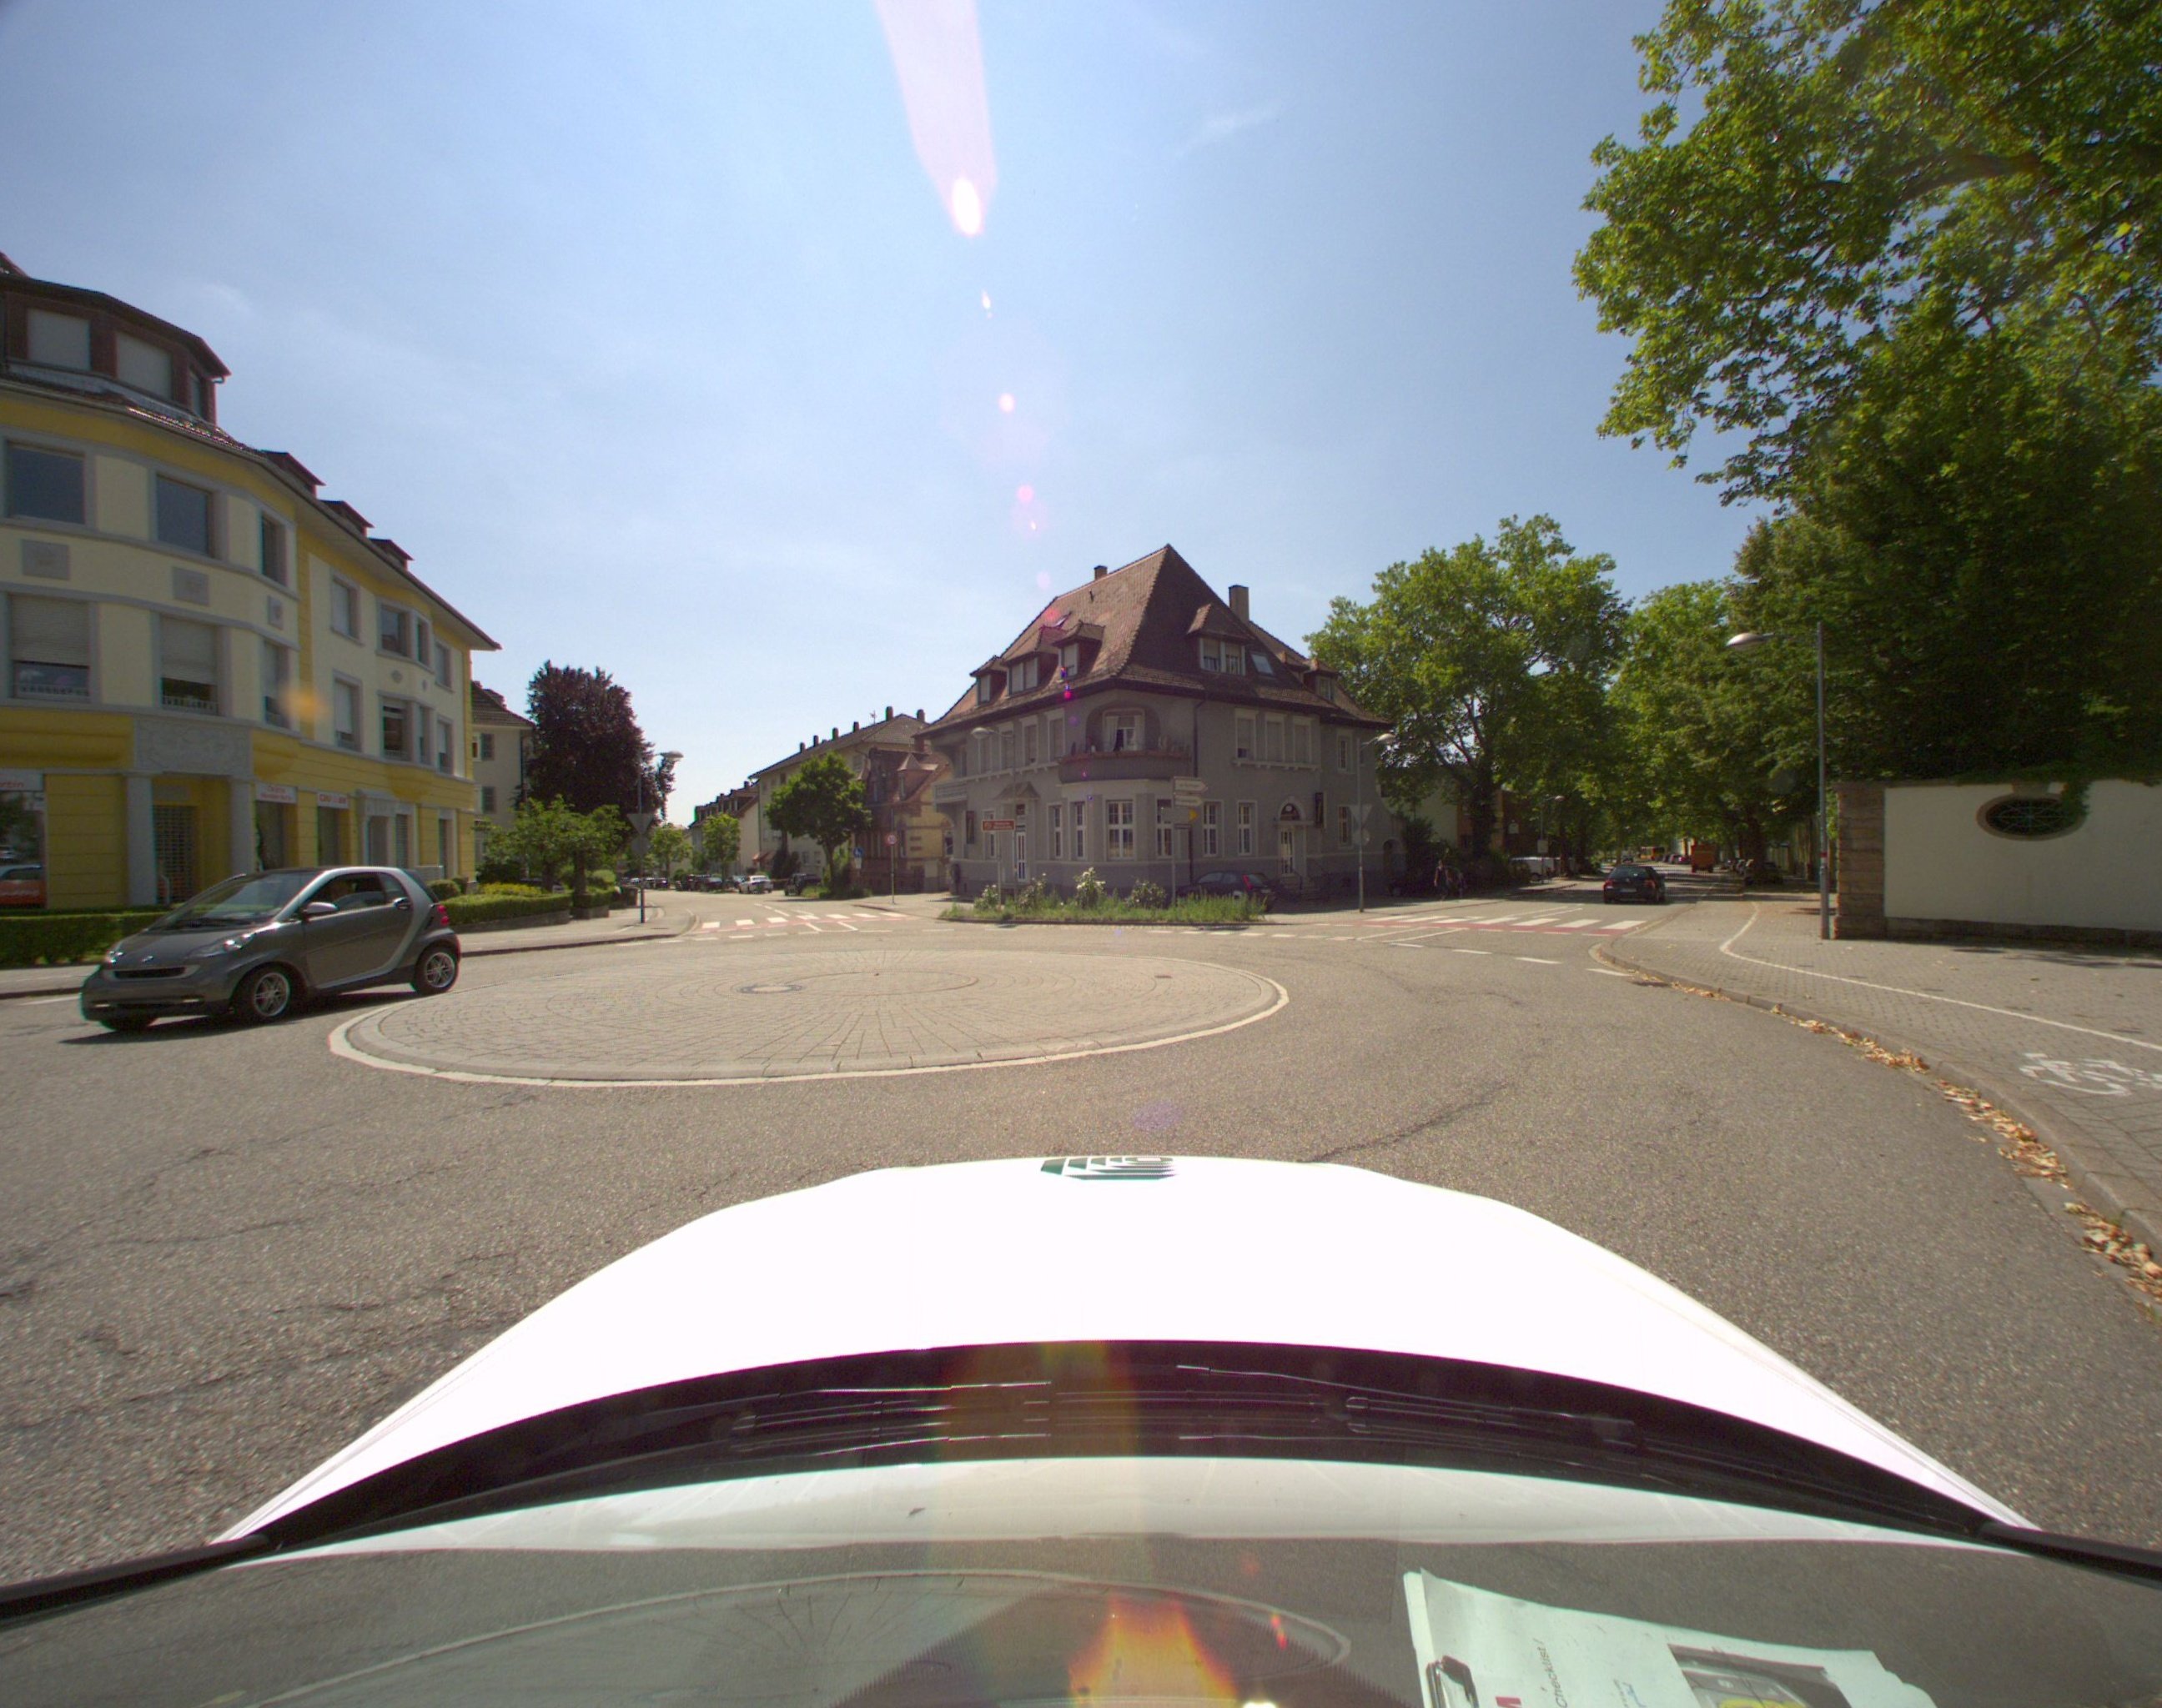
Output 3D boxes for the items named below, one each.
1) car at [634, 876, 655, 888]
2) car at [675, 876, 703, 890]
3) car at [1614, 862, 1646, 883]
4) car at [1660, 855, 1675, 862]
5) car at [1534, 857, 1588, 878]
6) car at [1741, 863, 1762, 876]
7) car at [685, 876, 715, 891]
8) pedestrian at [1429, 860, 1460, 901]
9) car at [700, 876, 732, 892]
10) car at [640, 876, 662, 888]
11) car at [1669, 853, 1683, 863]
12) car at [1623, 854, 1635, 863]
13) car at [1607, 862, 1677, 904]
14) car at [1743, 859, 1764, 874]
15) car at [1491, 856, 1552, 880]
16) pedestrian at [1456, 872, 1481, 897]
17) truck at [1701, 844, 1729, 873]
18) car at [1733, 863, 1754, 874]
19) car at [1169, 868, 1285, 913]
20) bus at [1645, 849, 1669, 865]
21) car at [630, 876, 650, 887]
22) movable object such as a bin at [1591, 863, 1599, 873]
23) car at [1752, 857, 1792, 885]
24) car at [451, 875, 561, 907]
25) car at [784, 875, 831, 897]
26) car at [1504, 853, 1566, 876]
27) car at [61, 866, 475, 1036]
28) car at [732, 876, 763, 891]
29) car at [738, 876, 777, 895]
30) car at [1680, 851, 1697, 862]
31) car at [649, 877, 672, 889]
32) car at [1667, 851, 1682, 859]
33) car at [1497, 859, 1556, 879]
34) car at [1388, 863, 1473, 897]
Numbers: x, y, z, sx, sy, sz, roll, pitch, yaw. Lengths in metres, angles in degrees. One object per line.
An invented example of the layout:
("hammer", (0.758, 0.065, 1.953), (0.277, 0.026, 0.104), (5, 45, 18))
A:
("car", (-61.497, 3.937, 114.786), (2.009, 1.509, 4.369), (0, -2, -37))
("car", (-42.900, 3.184, 89.009), (2.009, 1.509, 4.369), (0, -2, -37))
("car", (39.961, 1.345, 59.210), (1.751, 1.426, 4.420), (-2, -2, 36))
("car", (117.528, 0.844, 163.265), (1.750, 1.374, 3.752), (-2, -2, 27))
("car", (43.970, 1.215, 74.663), (4.089, 1.804, 1.915), (1, 0, 37))
("car", (80.860, 1.889, 98.246), (1.749, 1.466, 3.900), (-3, -2, 38))
("car", (-39.750, 3.068, 84.934), (2.009, 1.509, 4.369), (0, -2, -37))
("pedestrian", (15.593, 1.136, 34.932), (1.119, 1.742, 0.864), (1, -2, -44))
("car", (-35.970, 2.929, 80.129), (2.009, 1.509, 4.369), (0, -2, -37))
("car", (-58.328, 3.810, 110.445), (2.009, 1.509, 4.369), (0, -2, -37))
("car", (106.881, 0.660, 146.382), (1.861, 1.686, 4.025), (-1, -2, 34))
("car", (112.206, 0.969, 166.799), (1.974, 1.666, 4.025), (-1, -2, 34))
("car", (21.531, 1.070, 31.215), (1.695, 1.447, 4.082), (-1, -1, 42))
("car", (72.955, 1.350, 88.423), (1.562, 1.466, 3.900), (-3, -2, 38))
("car", (33.993, 1.058, 62.892), (3.948, 1.792, 1.880), (1, 0, 37))
("pedestrian", (17.797, 1.388, 37.382), (0.902, 1.122, 0.747), (1, -2, -42))
("truck", (71.367, 0.549, 91.600), (2.347, 3.134, 5.805), (-1, -2, 38))
("car", (85.311, 1.852, 104.964), (1.749, 1.374, 3.753), (-3, -2, 34))
("car", (5.033, 1.243, 28.461), (1.733, 1.460, 3.748), (0, -2, -40))
("bus", (125.151, 0.716, 177.112), (2.639, 3.151, 11.263), (-1, -1, 27))
("car", (-64.597, 4.026, 119.228), (2.008, 1.488, 3.956), (2, -2, -36))
("movable object such as a bin", (55.779, 1.489, 88.336), (0.624, 1.048, 0.618), (0, -1, -45))
("car", (42.473, 1.031, 50.069), (1.724, 1.557, 4.810), (-3, -2, 40))
("car", (-29.773, 1.881, 42.230), (4.443, 1.509, 1.976), (0, -2, -43))
("car", (-19.659, 2.288, 58.447), (2.009, 1.509, 4.369), (0, -2, -37))
("car", (38.260, 0.889, 68.665), (4.380, 1.804, 1.915), (1, 0, 37))
("car", (-8.462, 0.912, 8.824), (1.557, 1.530, 2.792), (-1, -1, 5))
("car", (-34.957, 3.090, 85.252), (2.009, 1.509, 4.369), (0, -2, -37))
("car", (-27.041, 2.573, 67.962), (2.009, 1.509, 4.369), (0, -2, -37))
("car", (104.129, 0.456, 139.621), (1.861, 1.686, 4.025), (-1, -2, 32))
("car", (-54.625, 3.801, 105.701), (2.009, 1.509, 4.369), (0, -2, -37))
("car", (113.757, 0.198, 156.116), (1.750, 1.374, 3.751), (-2, -2, 26))
("car", (36.471, 1.185, 66.692), (3.948, 1.515, 1.880), (1, 0, 37))
("car", (16.836, 1.224, 39.324), (1.733, 1.547, 3.352), (0, -1, -40))
